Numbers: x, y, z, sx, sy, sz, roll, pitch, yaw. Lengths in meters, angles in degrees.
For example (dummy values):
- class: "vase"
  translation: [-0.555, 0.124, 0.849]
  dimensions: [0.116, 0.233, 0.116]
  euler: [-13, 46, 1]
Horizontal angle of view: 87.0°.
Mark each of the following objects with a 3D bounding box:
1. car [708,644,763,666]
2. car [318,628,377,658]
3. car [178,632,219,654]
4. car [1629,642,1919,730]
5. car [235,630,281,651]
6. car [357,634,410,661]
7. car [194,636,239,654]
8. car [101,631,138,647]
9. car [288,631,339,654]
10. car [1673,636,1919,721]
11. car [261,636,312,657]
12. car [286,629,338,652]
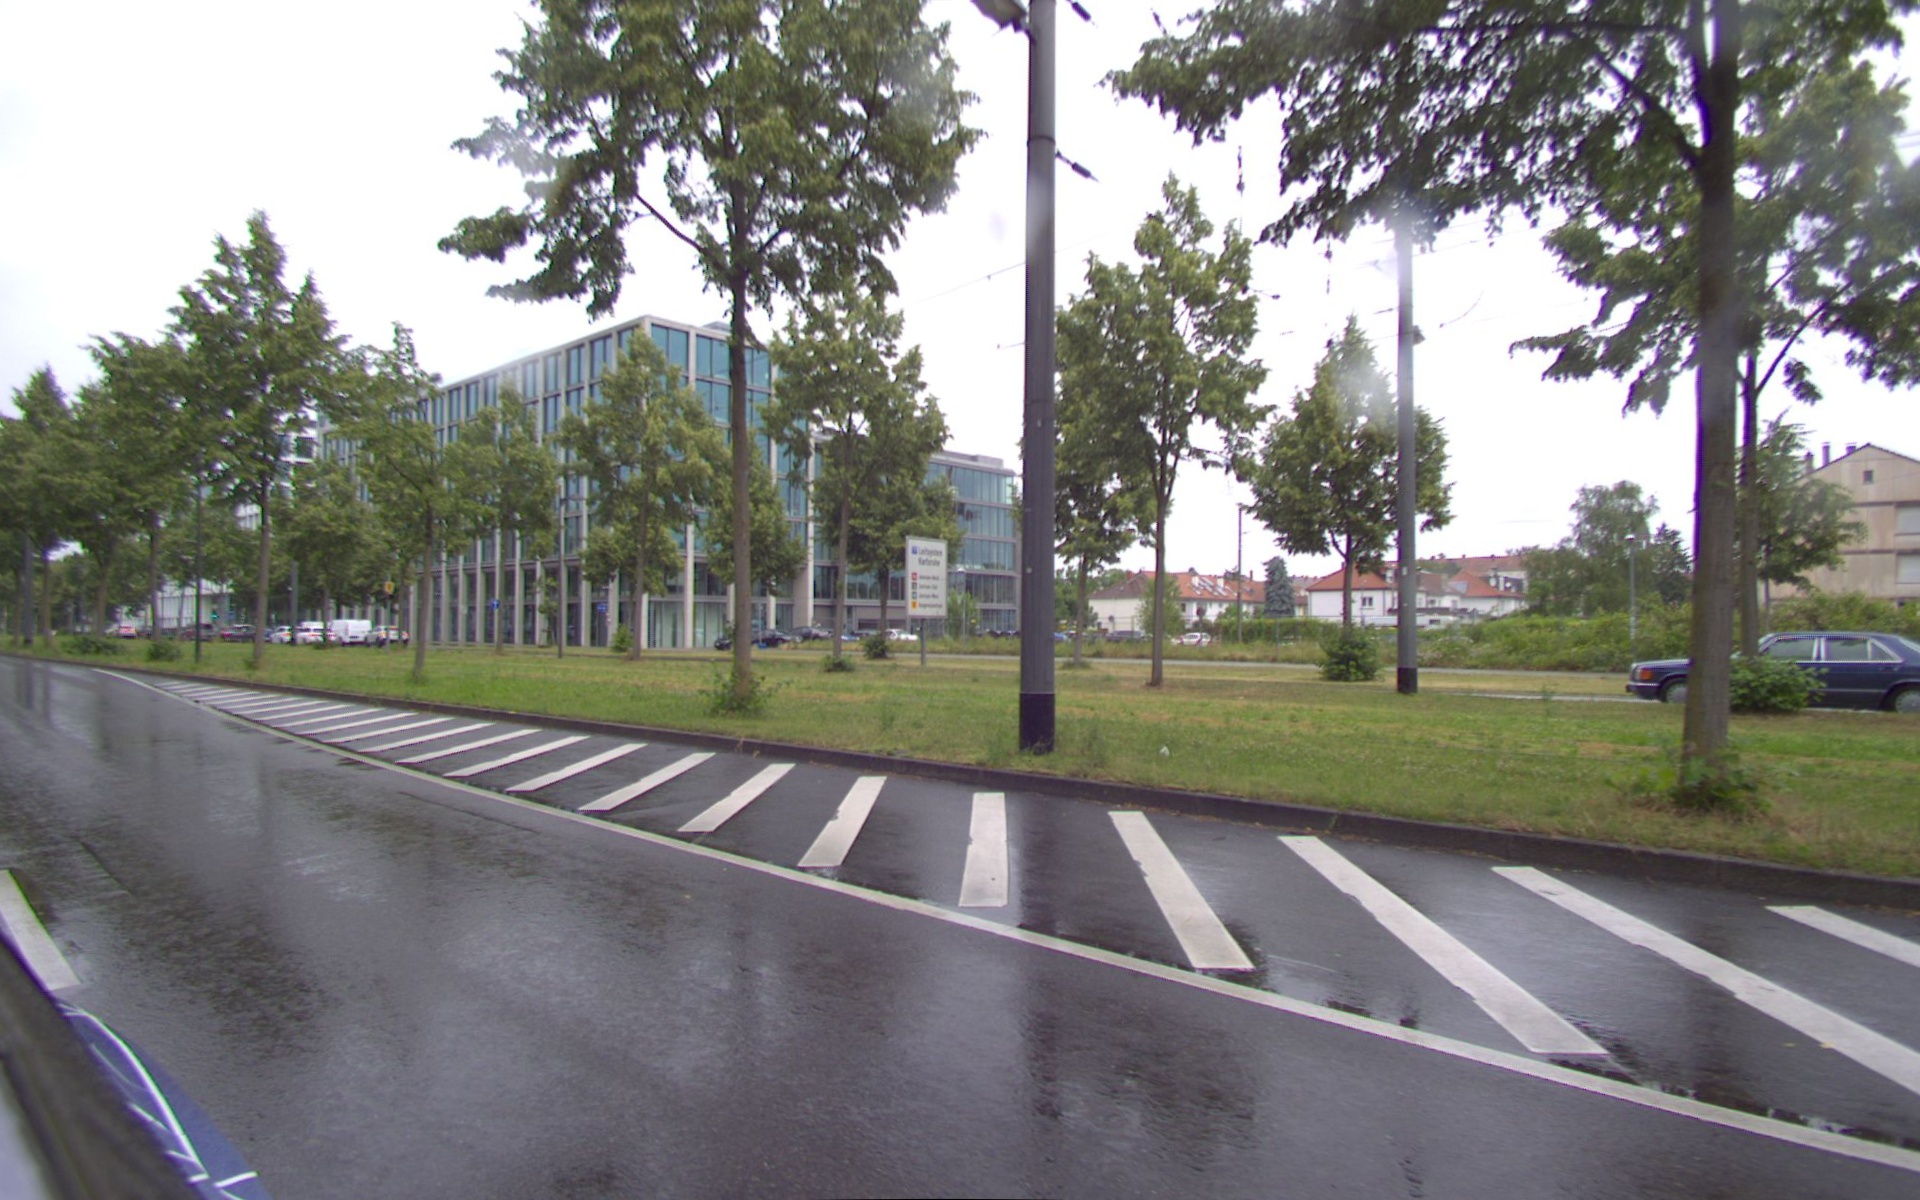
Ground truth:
- class: "car"
  translation: [-17.051, 4.175, 76.912]
  dimensions: [1.745, 1.621, 3.746]
  euler: [-5, -5, 44]
- class: "car"
  translation: [-45.530, 3.241, 75.205]
  dimensions: [5.370, 2.022, 2.244]
  euler: [-5, -5, 41]
- class: "car"
  translation: [-68.364, 3.878, 90.777]
  dimensions: [4.539, 1.863, 1.931]
  euler: [-3, -4, 40]
- class: "car"
  translation: [13.873, 1.335, 16.331]
  dimensions: [4.972, 1.308, 1.473]
  euler: [-2, -3, 40]
- class: "car"
  translation: [-55.268, 3.214, 79.636]
  dimensions: [3.956, 1.506, 1.932]
  euler: [-4, -4, 38]
- class: "car"
  translation: [-39.692, 3.233, 69.676]
  dimensions: [4.576, 1.762, 1.929]
  euler: [-2, -2, 43]
- class: "car"
  translation: [-61.609, 3.743, 83.856]
  dimensions: [4.600, 1.396, 1.931]
  euler: [-4, -4, 39]
- class: "car"
  translation: [-80.746, 3.740, 97.224]
  dimensions: [4.572, 1.463, 1.931]
  euler: [-2, -2, 40]
- class: "car"
  translation: [-45.370, 3.006, 70.987]
  dimensions: [4.832, 1.472, 1.929]
  euler: [-5, -5, 44]
- class: "car"
  translation: [14.342, 1.220, 16.067]
  dimensions: [4.845, 1.276, 1.534]
  euler: [-3, -4, 38]
- class: "car"
  translation: [-50.089, 3.430, 75.210]
  dimensions: [4.572, 1.525, 1.931]
  euler: [-2, -2, 40]
- class: "car"
  translation: [-51.500, 3.211, 80.423]
  dimensions: [5.022, 1.664, 1.932]
  euler: [-4, -4, 38]
